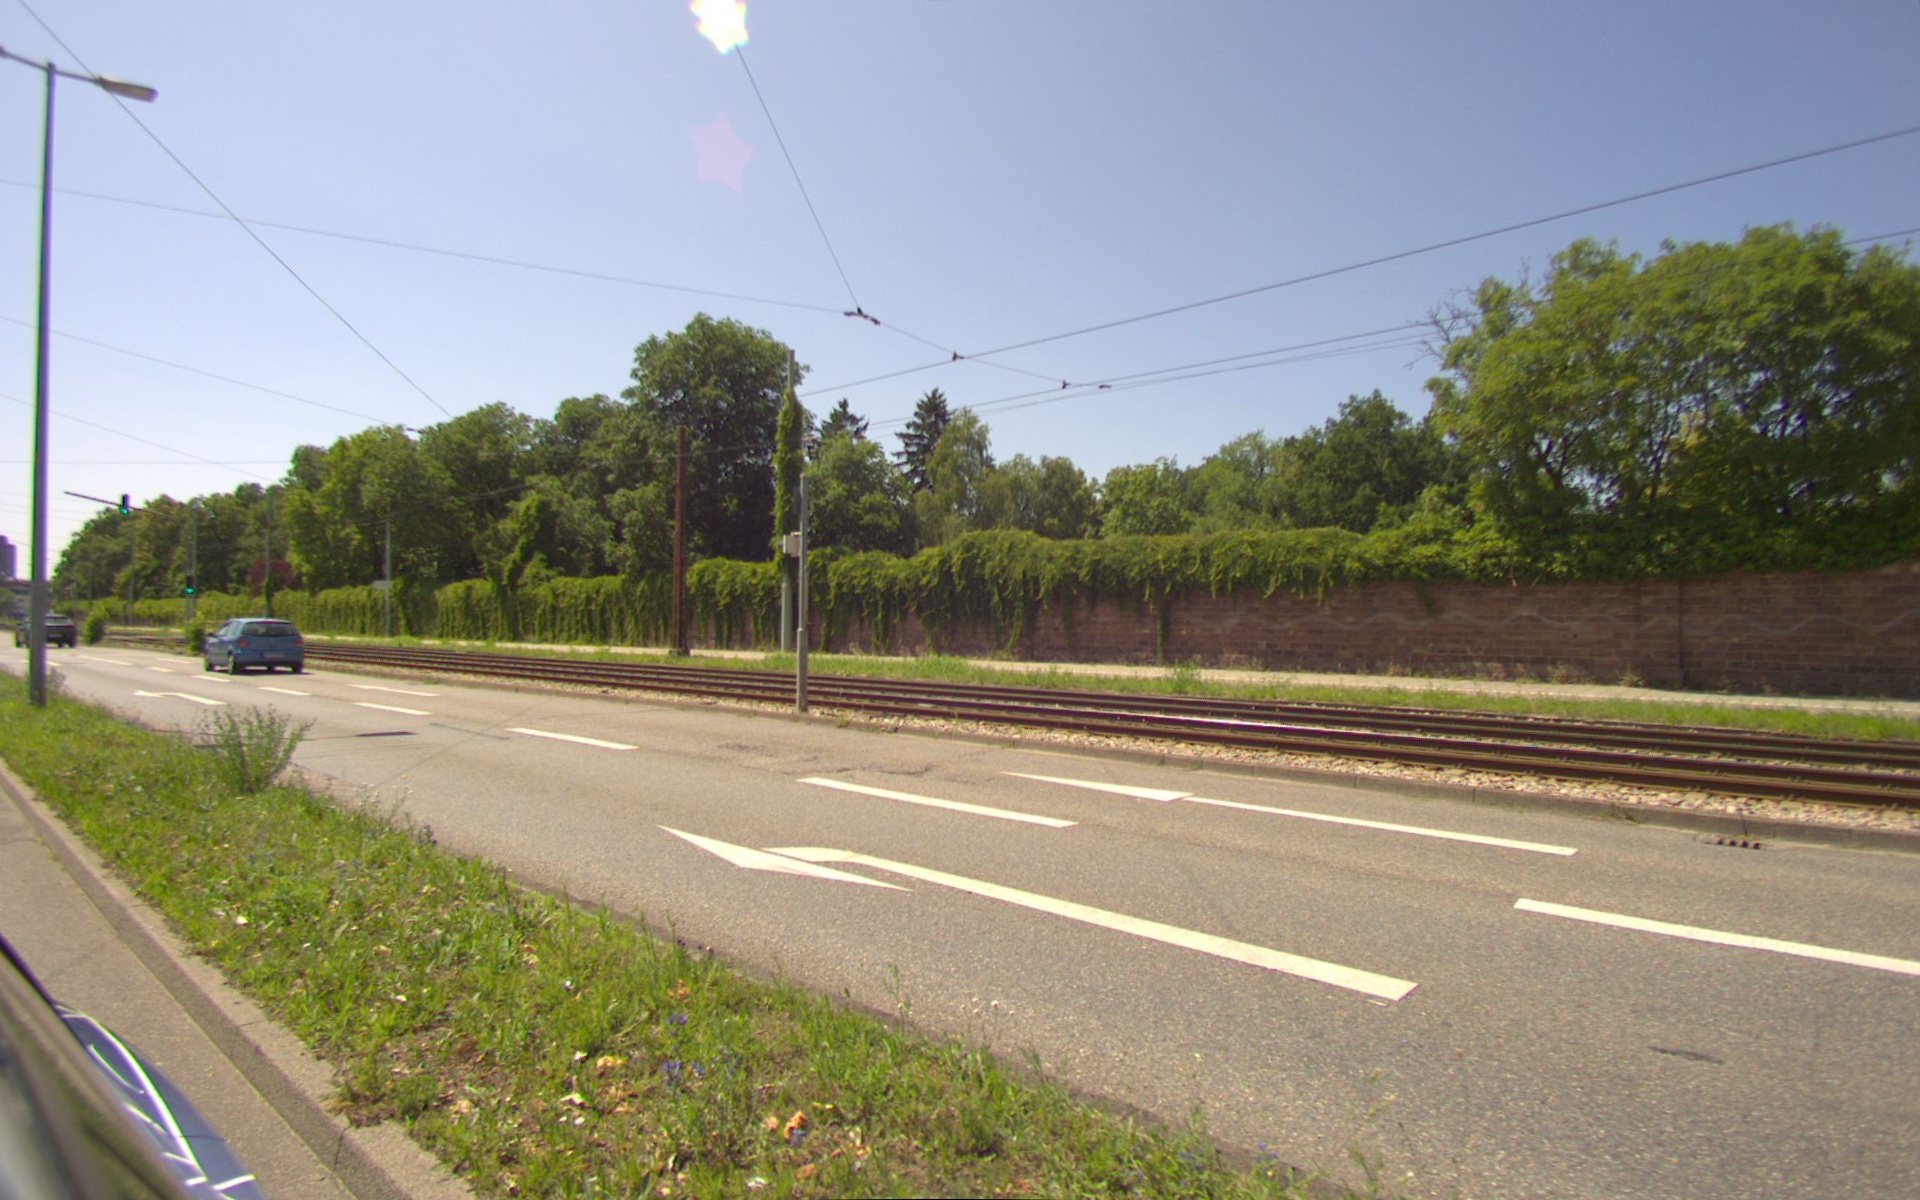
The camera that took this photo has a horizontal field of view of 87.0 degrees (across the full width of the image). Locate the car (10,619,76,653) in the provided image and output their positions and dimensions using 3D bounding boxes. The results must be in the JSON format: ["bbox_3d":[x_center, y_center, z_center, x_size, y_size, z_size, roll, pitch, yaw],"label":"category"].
[{"bbox_3d":[-43.004,1.692,47.427,4.094,1.532,1.743,-1,-3,41],"label":"car"}]

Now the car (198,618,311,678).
[{"bbox_3d":[-19.062,1.267,27.291,3.789,1.482,1.676,-2,-3,42],"label":"car"}]
